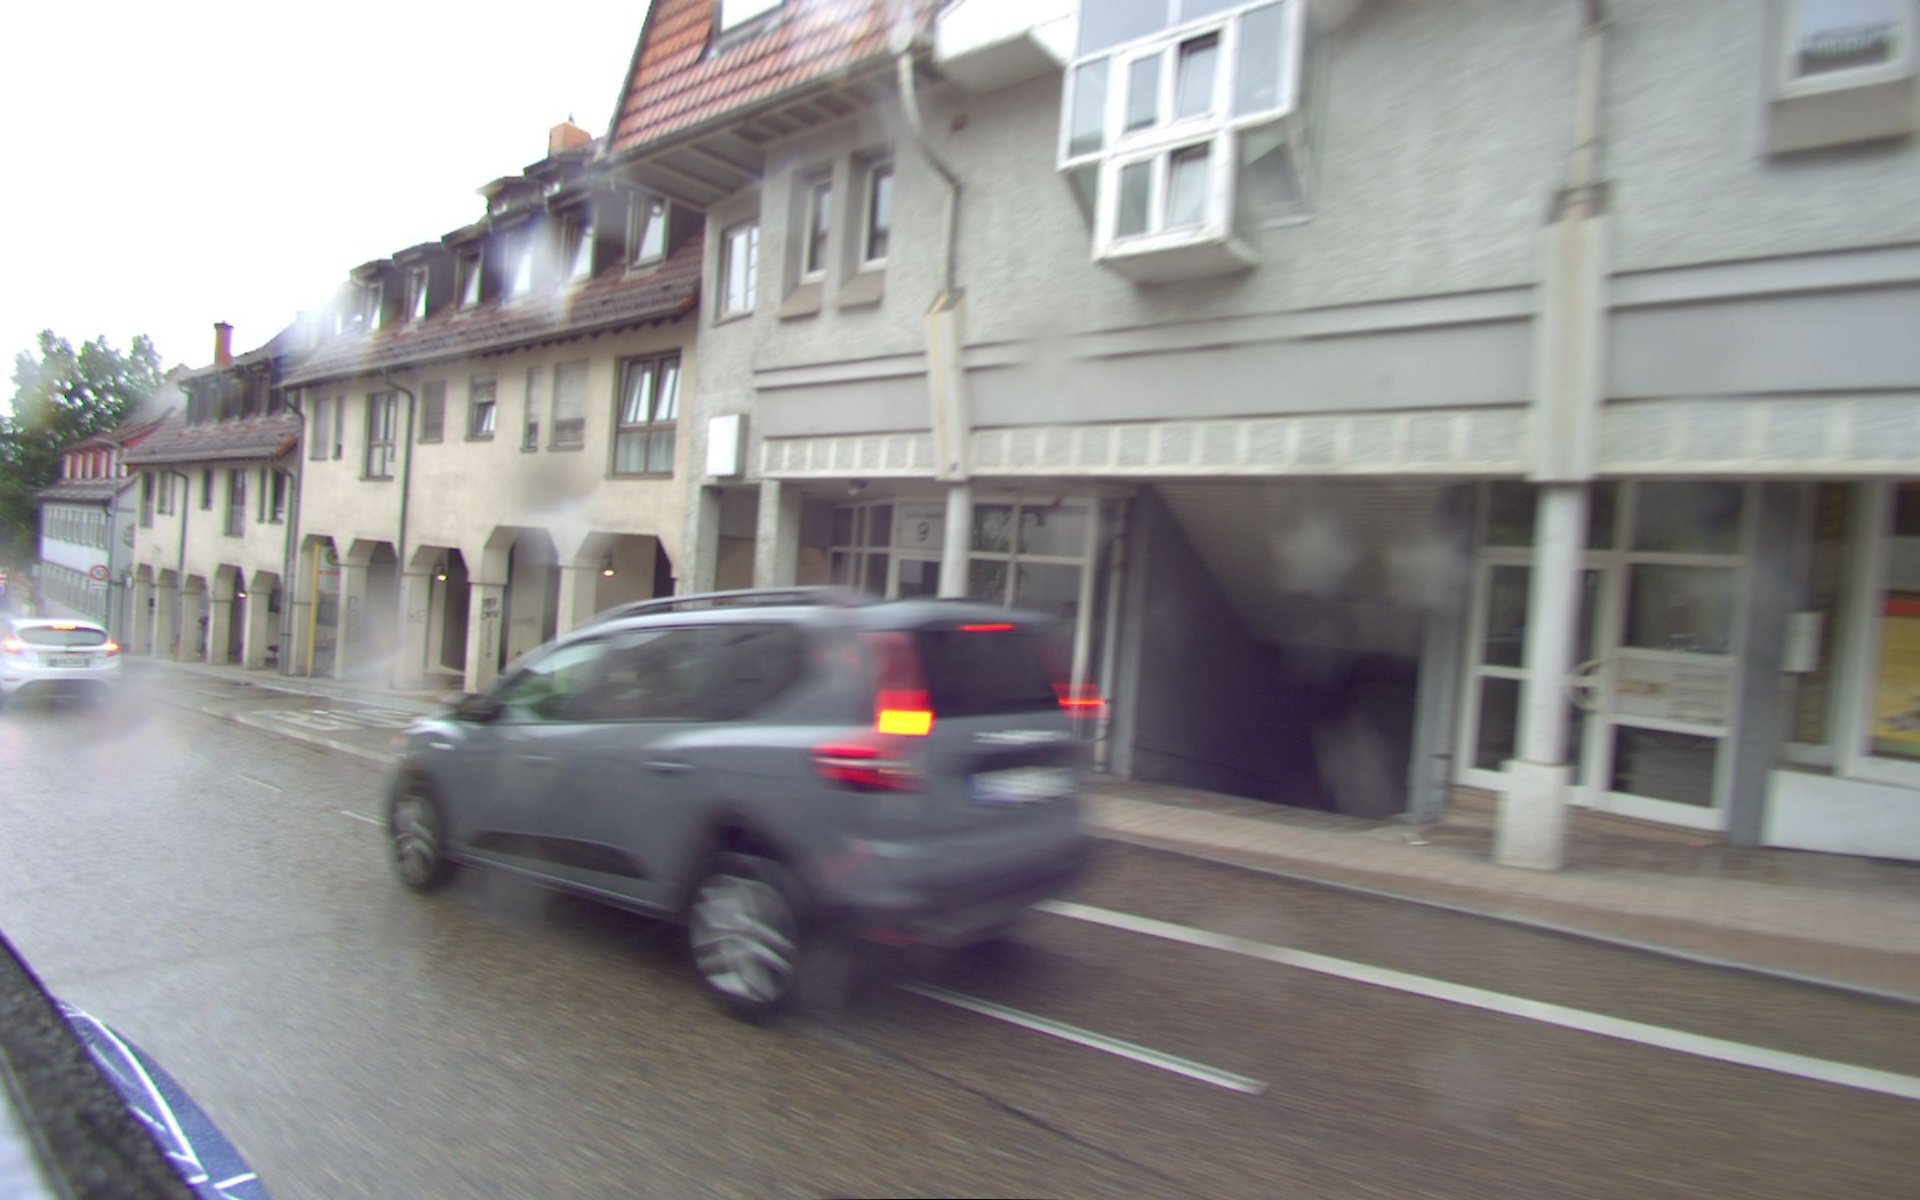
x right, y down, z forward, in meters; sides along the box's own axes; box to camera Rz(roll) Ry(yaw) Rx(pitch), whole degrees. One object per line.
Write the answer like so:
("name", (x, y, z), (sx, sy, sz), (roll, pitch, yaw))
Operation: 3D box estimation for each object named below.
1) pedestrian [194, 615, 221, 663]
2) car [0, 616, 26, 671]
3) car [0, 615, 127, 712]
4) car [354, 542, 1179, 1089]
("pedestrian", (-27.864, 1.423, 37.494), (0.735, 1.753, 0.680), (-1, 0, 44))
("car", (-28.450, 1.230, 29.257), (3.586, 1.521, 1.660), (0, -2, 40))
("car", (-15.980, 1.033, 17.685), (3.588, 1.521, 1.659), (0, -2, 42))
("car", (-1.292, 0.700, 5.274), (4.455, 1.707, 1.764), (0, -2, 39))
